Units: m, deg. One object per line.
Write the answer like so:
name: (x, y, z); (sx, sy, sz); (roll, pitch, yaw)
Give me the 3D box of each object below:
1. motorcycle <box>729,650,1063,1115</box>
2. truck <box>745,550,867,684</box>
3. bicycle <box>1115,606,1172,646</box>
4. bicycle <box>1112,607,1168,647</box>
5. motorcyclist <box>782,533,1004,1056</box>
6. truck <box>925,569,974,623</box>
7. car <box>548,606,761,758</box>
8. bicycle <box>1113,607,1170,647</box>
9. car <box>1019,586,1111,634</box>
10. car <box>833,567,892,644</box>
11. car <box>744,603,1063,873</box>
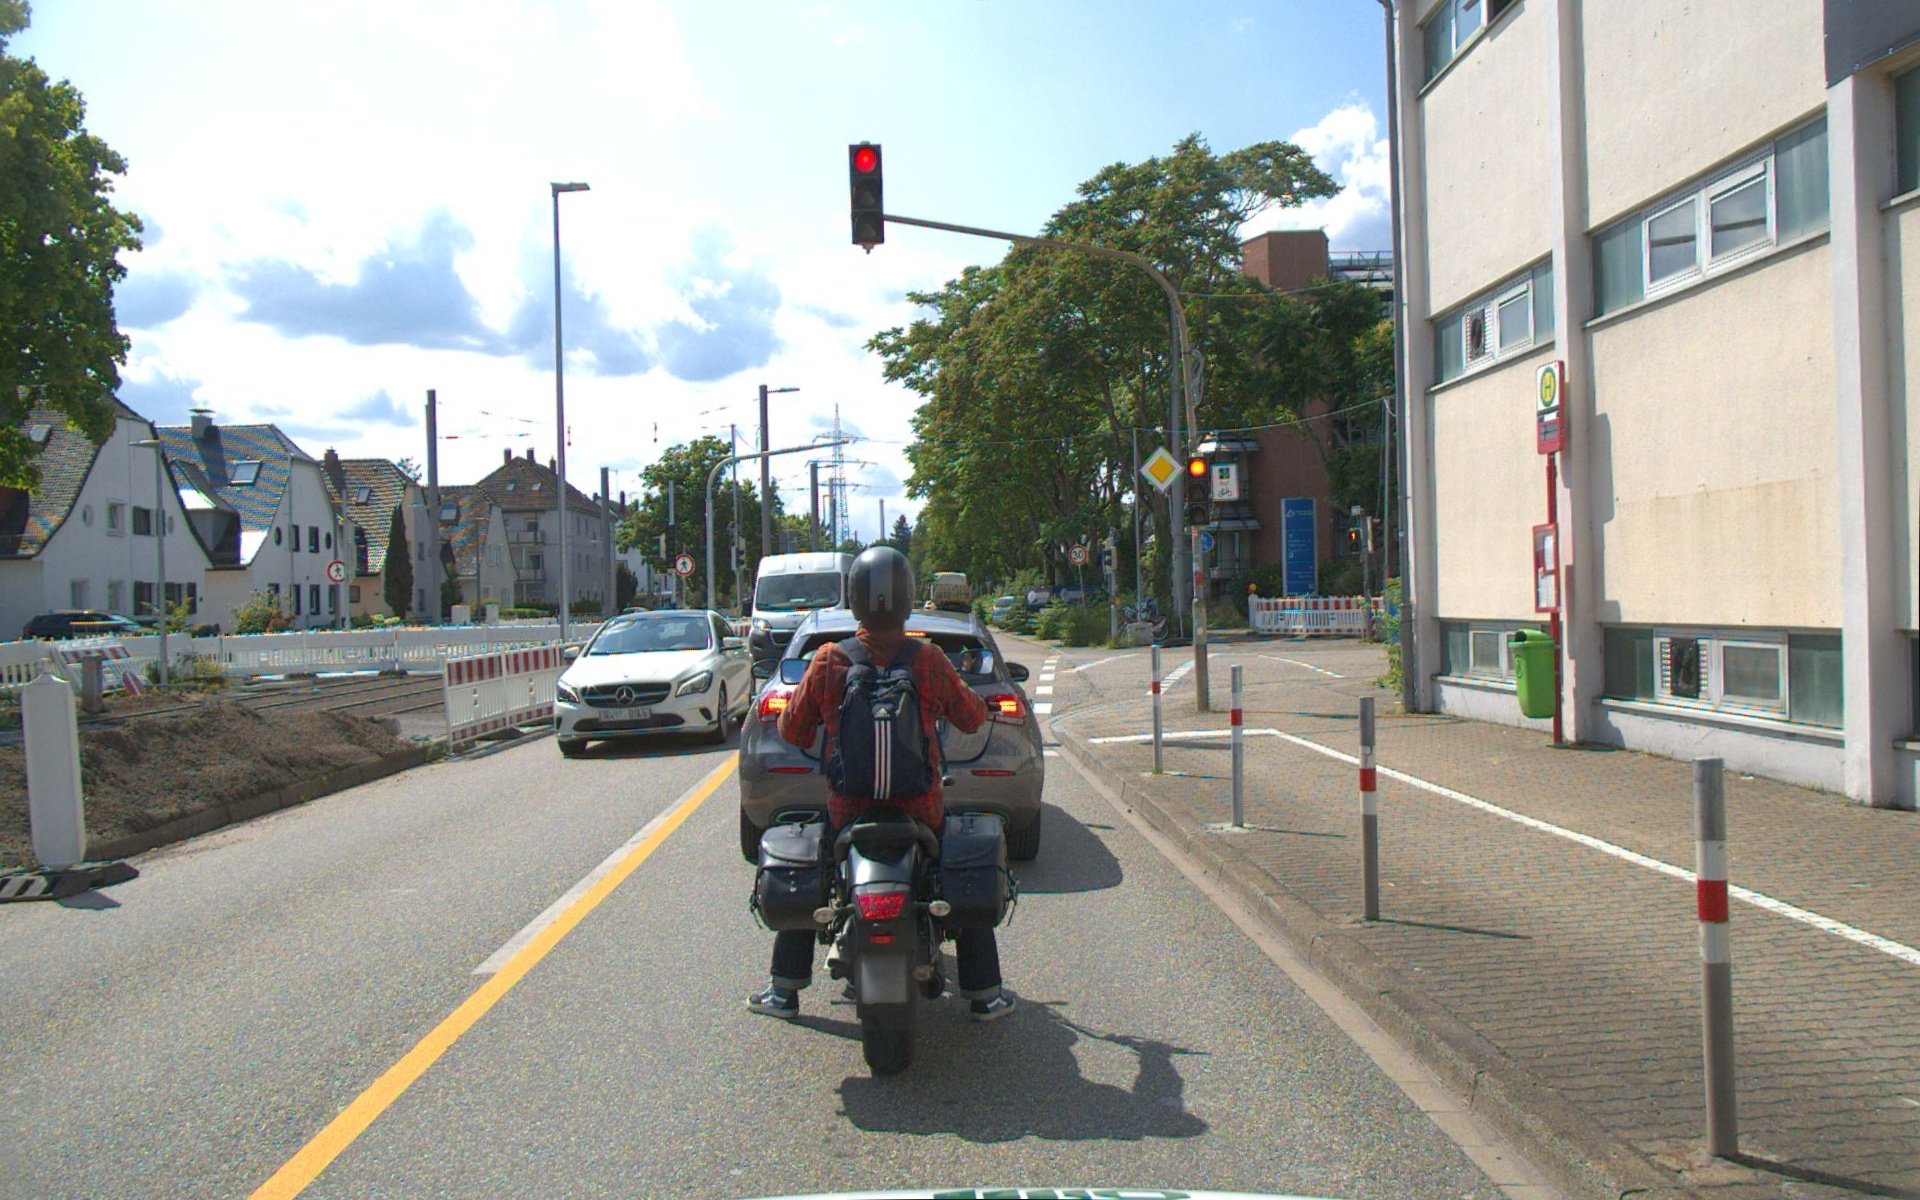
motorcycle: (-0.210, 0.828, 5.865); (0.923, 1.221, 2.471); (0, 0, -2)
truck: (-3.151, 0.268, 34.917); (2.050, 2.519, 5.195); (-3, 1, -1)
bicycle: (5.467, 0.782, 49.406); (1.672, 1.192, 0.438); (0, -1, 3)
bicycle: (5.496, 0.818, 50.438); (1.672, 1.192, 0.438); (0, -1, 3)
motorcyclist: (-0.218, 0.611, 5.528); (0.684, 1.632, 0.691); (0, -1, -2)
truck: (-0.616, -0.196, 104.535); (2.906, 3.229, 7.764); (0, -1, 1)
car: (-3.326, 0.847, 18.709); (1.709, 1.462, 4.082); (-2, -1, -2)
bicycle: (5.477, 0.812, 49.956); (1.672, 1.192, 0.438); (0, -1, 3)
car: (4.455, 0.445, 69.588); (1.772, 1.959, 3.973); (0, -1, 43)
car: (-2.835, 0.179, 48.563); (1.557, 2.180, 3.626); (0, -1, -1)
car: (-0.503, 0.750, 10.907); (1.698, 1.428, 4.081); (1, 0, -6)
